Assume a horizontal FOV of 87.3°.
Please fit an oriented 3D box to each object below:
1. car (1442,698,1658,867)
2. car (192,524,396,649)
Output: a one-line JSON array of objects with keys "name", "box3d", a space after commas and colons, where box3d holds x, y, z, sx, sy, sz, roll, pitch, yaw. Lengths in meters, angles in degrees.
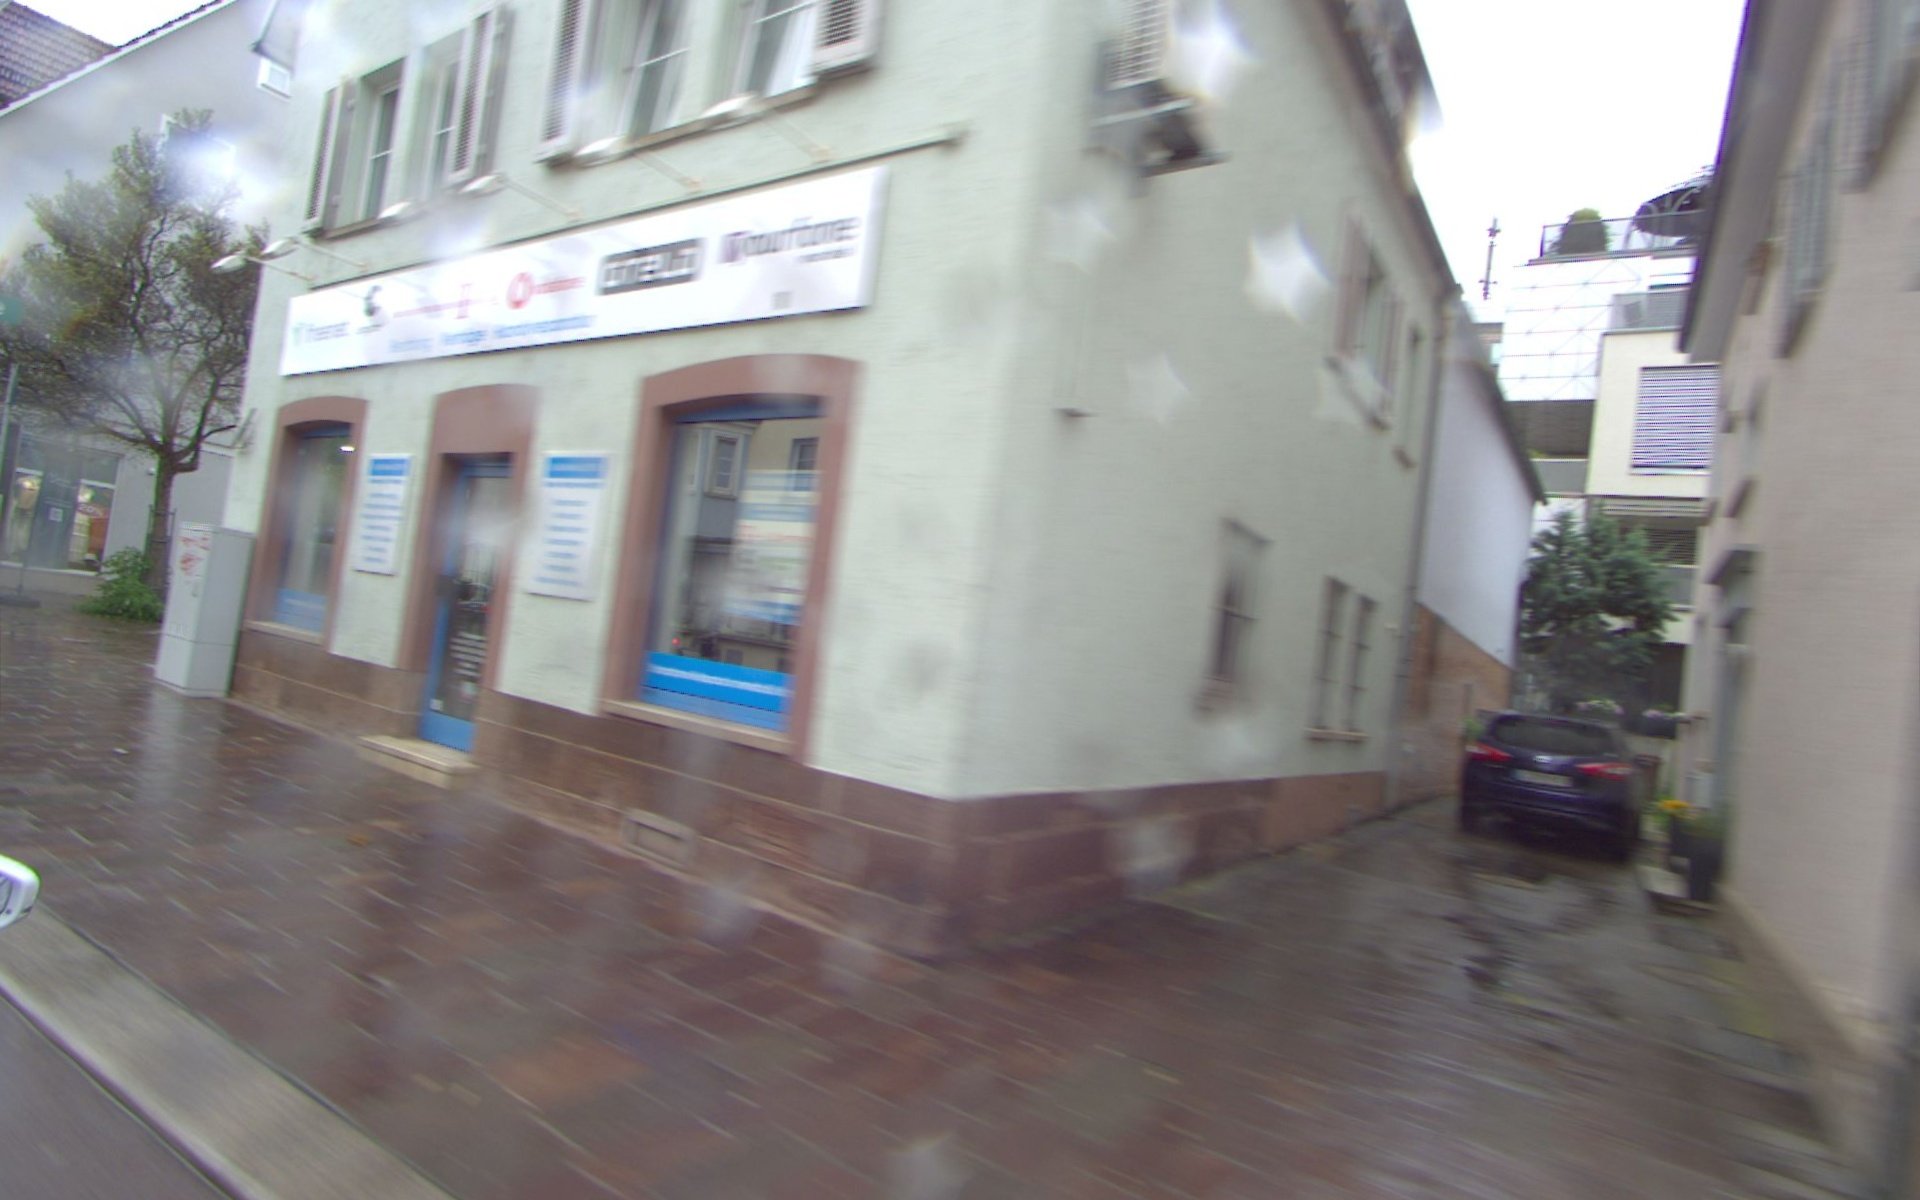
[{"name": "car", "box3d": [7.495, 2.176, 12.587, 1.766, 1.512, 3.989, 7, -2, 37]}, {"name": "car", "box3d": [-11.301, -0.212, 17.437, 1.864, 1.617, 4.372, 9, -2, -21]}]
